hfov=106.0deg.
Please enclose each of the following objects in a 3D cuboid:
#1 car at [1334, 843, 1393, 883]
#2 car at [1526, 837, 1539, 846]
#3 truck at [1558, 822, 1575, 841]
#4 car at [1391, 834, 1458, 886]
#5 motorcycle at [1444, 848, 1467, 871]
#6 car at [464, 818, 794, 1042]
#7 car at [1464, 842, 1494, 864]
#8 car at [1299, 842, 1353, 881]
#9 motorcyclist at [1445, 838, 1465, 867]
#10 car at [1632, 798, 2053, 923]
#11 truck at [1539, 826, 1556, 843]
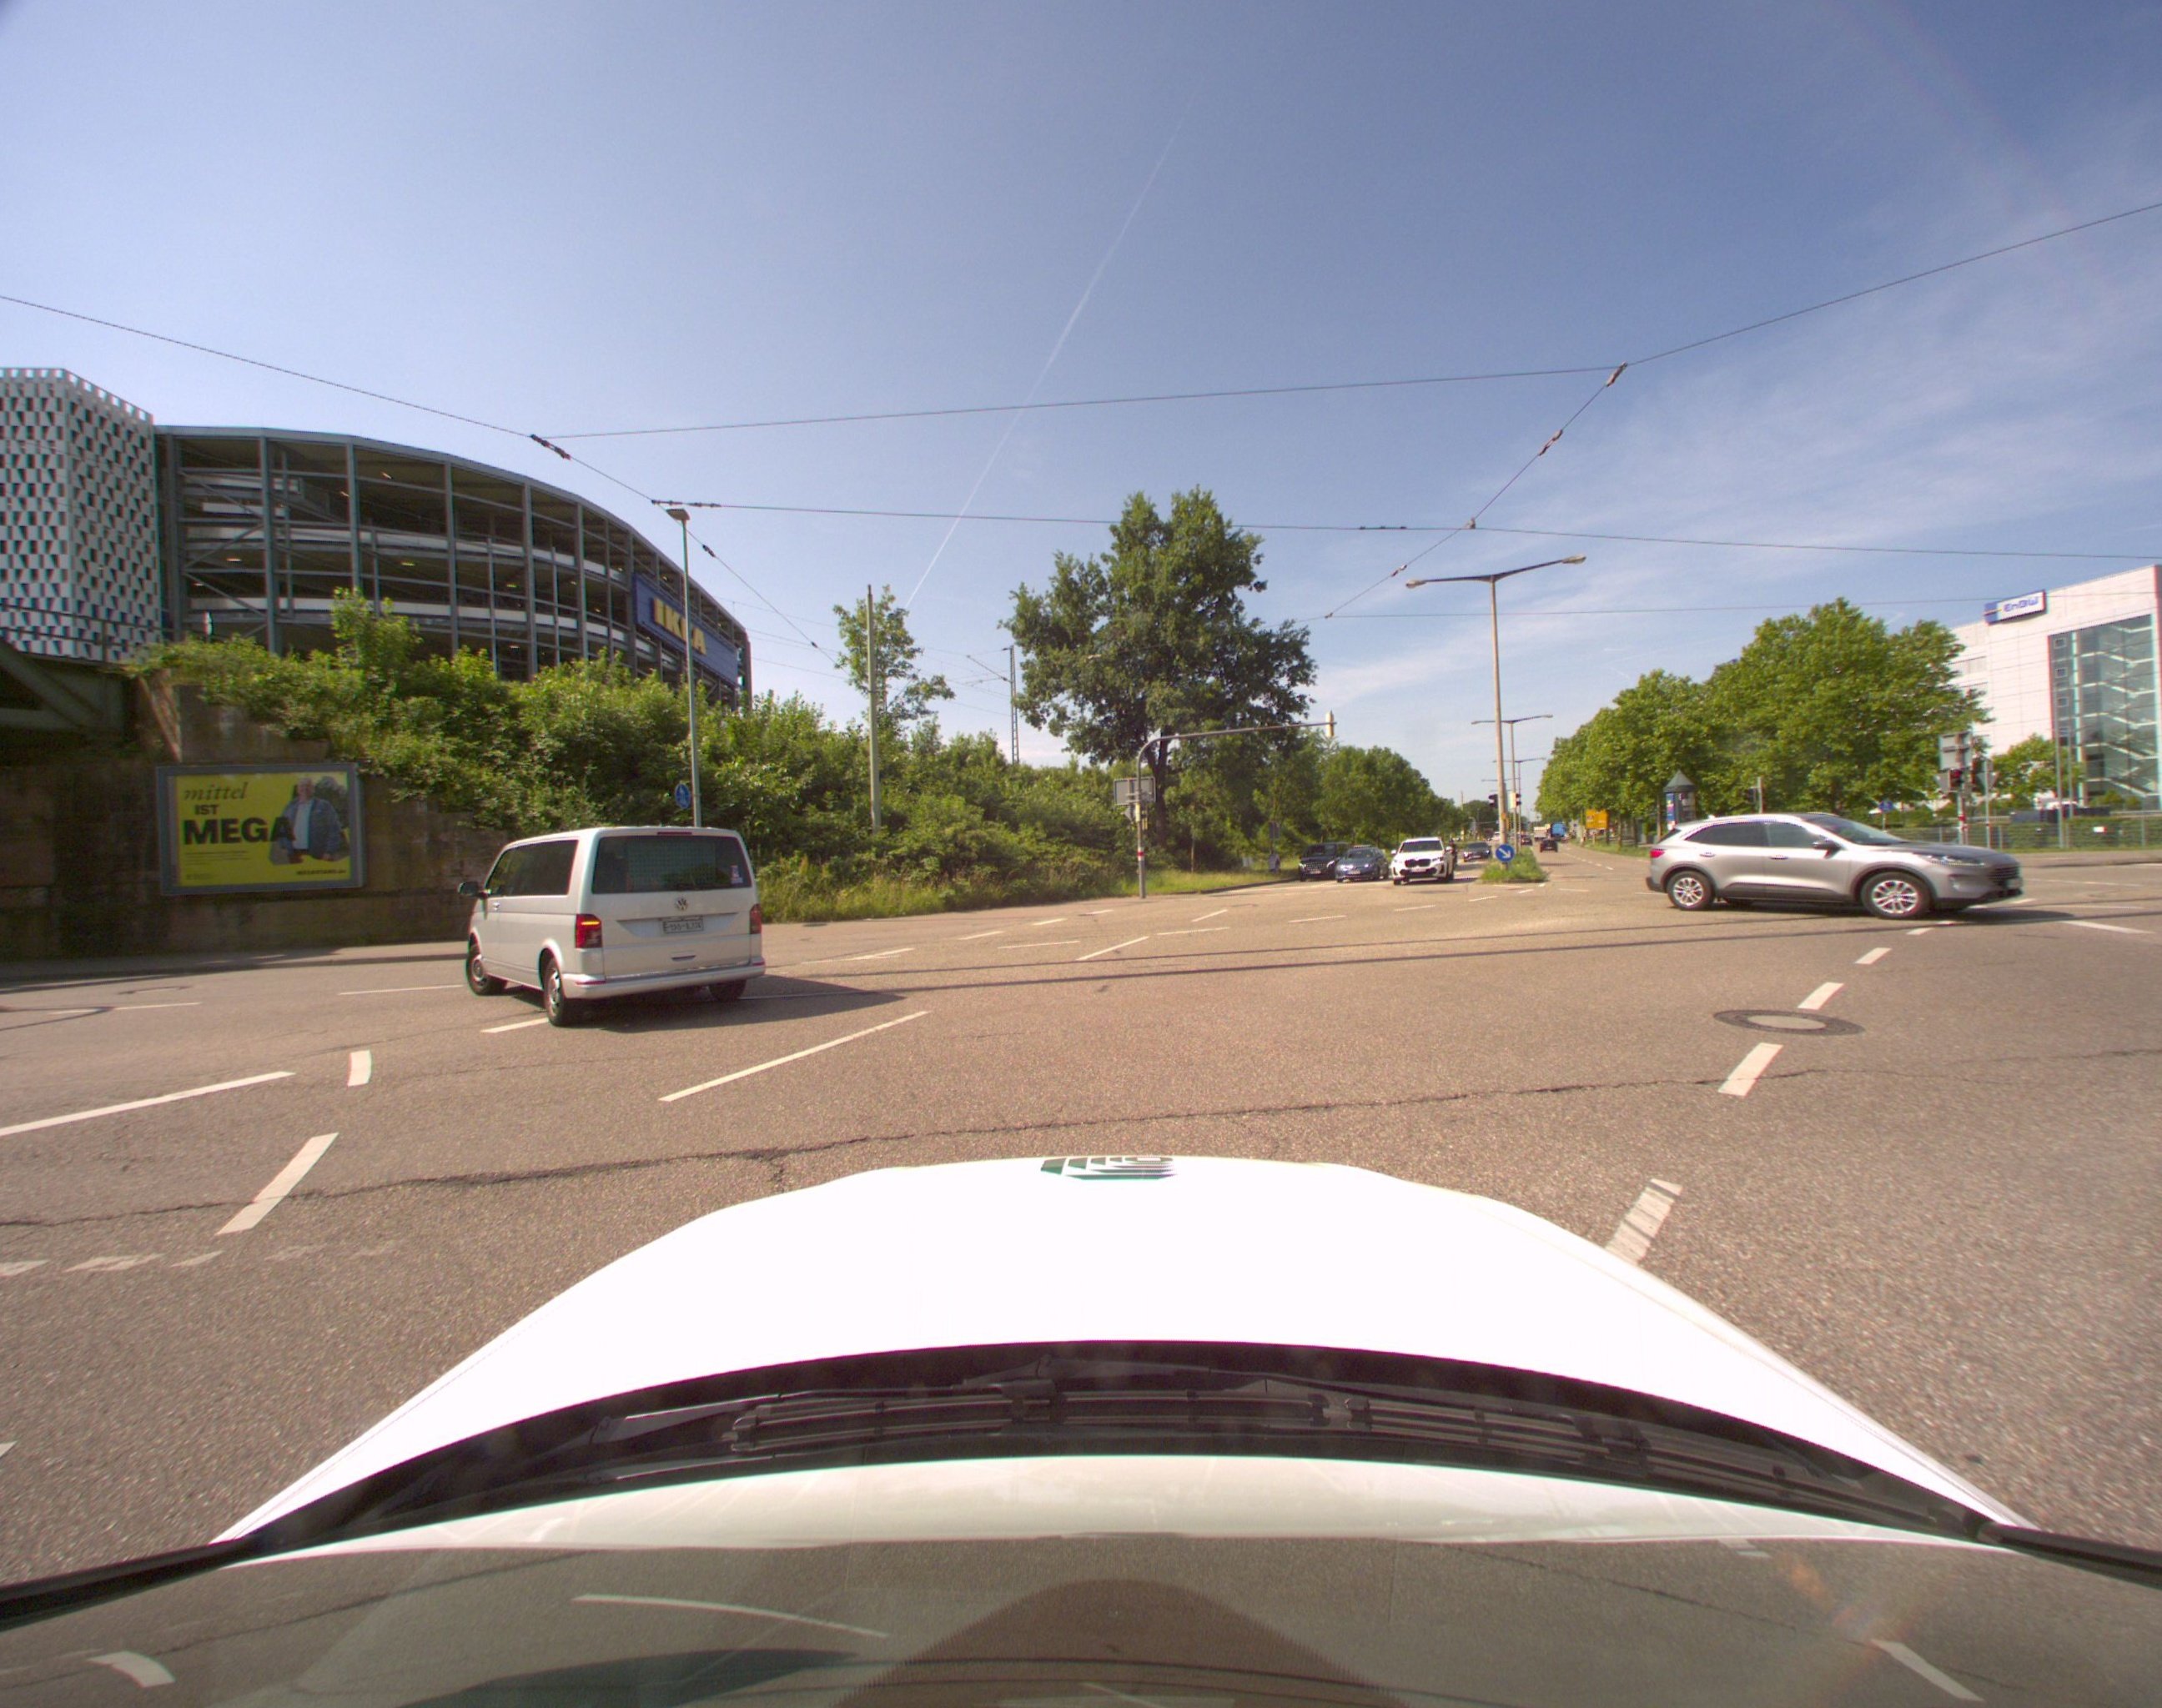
[{"bbox_3d":[12.297,0.347,35.351,1.832,1.561,4.024,-3,0,27],"label":"car"},{"bbox_3d":[73.375,-2.063,132.355,1.732,1.344,4.405,-3,0,29],"label":"car"},{"bbox_3d":[118.652,-5.398,198.934,3.160,4.355,13.231,-3,0,32],"label":"truck"},{"bbox_3d":[12.673,0.184,29.881,1.892,1.689,4.654,-3,0,27],"label":"car"},{"bbox_3d":[19.084,0.272,41.478,0.727,1.083,2.056,-4,-2,32],"label":"motorcycle"},{"bbox_3d":[-5.517,0.694,9.583,4.958,1.971,1.960,-2,0,44],"label":"car"},{"bbox_3d":[29.627,-0.097,60.498,1.698,1.378,4.500,-4,-1,29],"label":"car"},{"bbox_3d":[12.203,0.340,40.434,1.832,1.814,4.024,-3,0,27],"label":"car"},{"bbox_3d":[19.079,-0.090,41.506,0.727,1.447,0.878,-4,-2,32],"label":"motorcyclist"},{"bbox_3d":[12.073,0.100,13.388,2.000,1.650,4.619,-2,0,-23],"label":"car"},{"bbox_3d":[100.908,-4.217,176.054,2.813,3.577,8.775,-3,0,32],"label":"truck"}]
